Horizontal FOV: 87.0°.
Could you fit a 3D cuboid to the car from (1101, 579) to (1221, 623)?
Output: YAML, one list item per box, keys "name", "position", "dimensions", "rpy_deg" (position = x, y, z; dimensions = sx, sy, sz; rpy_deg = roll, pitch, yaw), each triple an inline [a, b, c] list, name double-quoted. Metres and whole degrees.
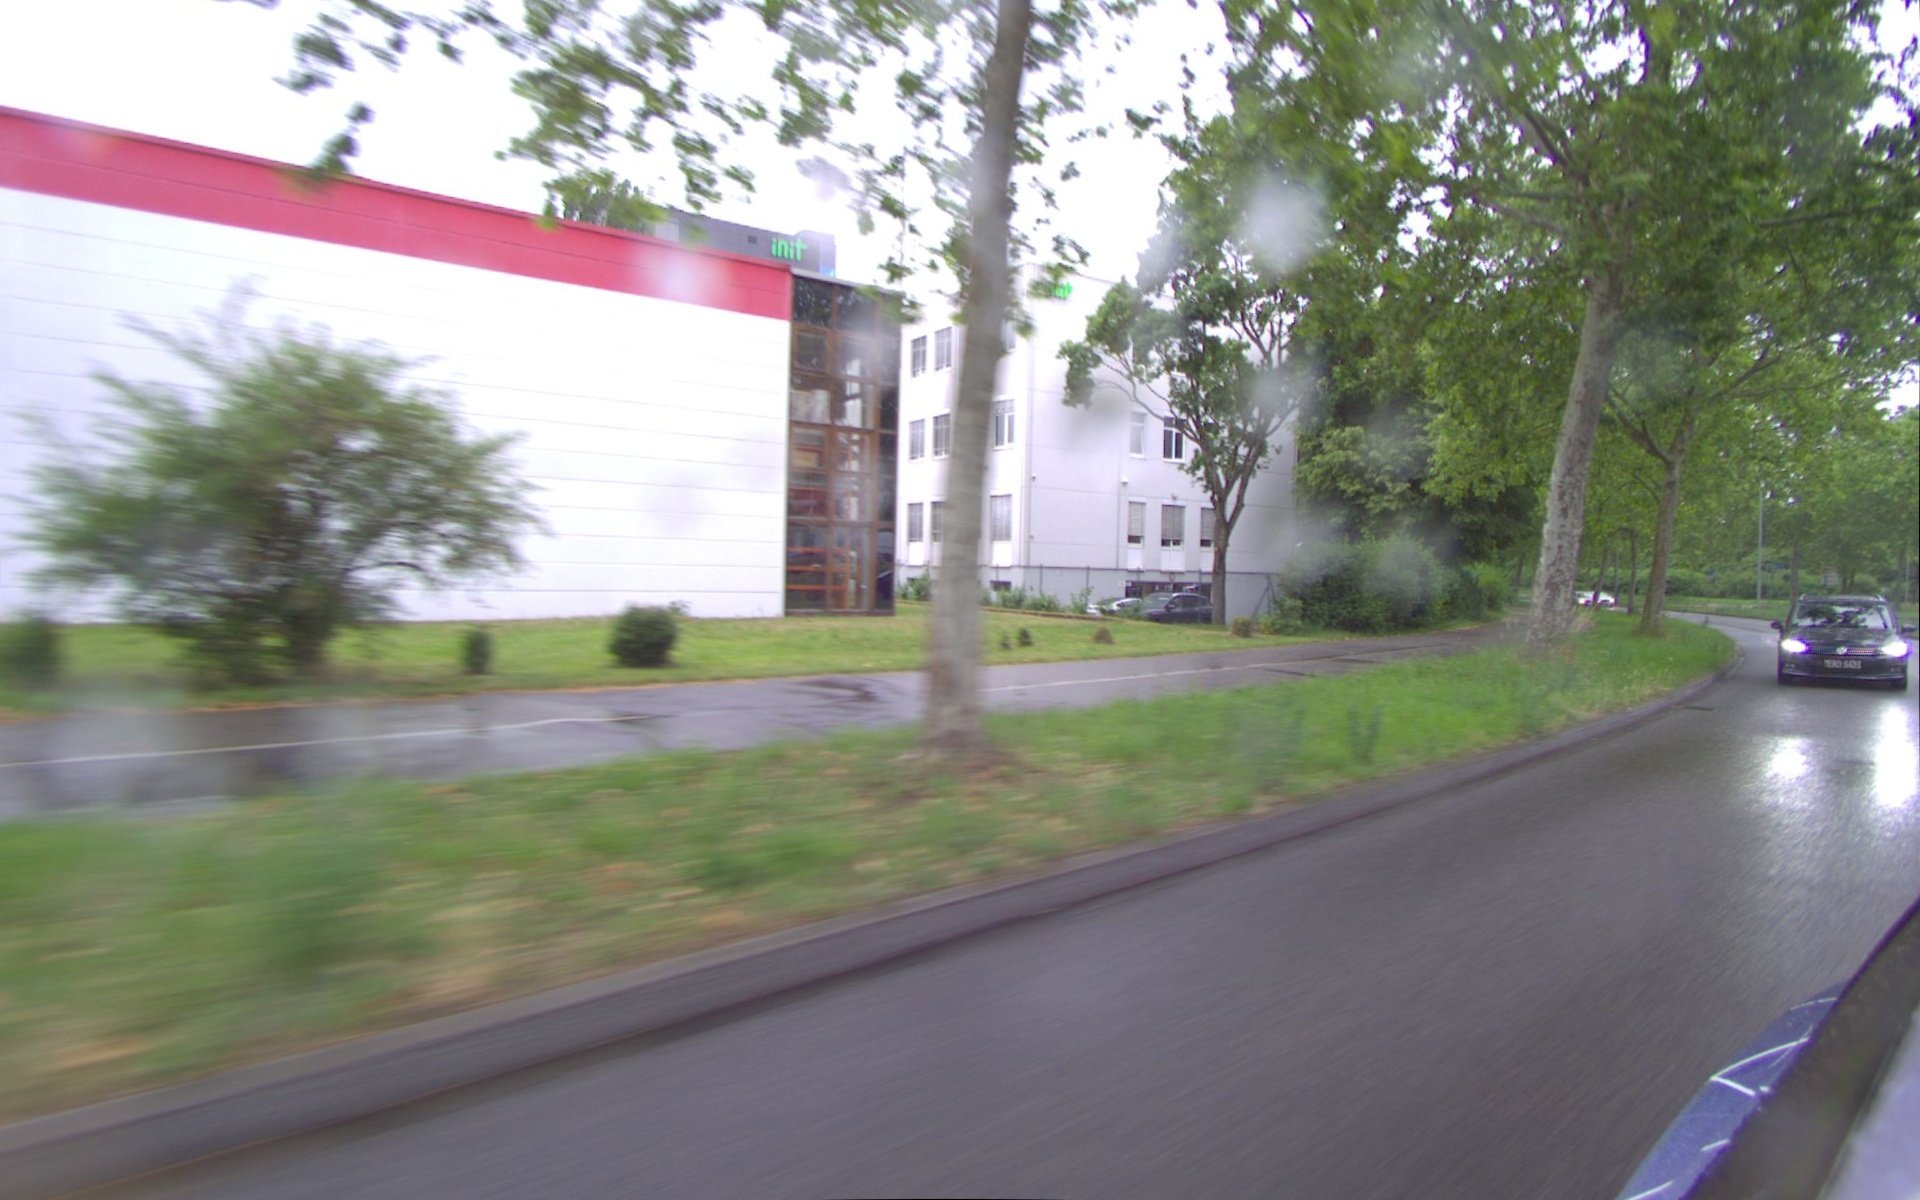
- name: "car"
  position: [7.221, 0.017, 36.282]
  dimensions: [4.030, 1.494, 1.787]
  rpy_deg: [0, 1, -30]

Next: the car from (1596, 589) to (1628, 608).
- name: "car"
  position: [58.587, -0.143, 91.012]
  dimensions: [1.765, 1.575, 3.969]
  rpy_deg: [1, 1, 23]

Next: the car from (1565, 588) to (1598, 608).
- name: "car"
  position: [52.734, -0.172, 85.911]
  dimensions: [1.765, 1.575, 3.969]
  rpy_deg: [1, 1, 23]

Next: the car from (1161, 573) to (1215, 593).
- name: "car"
  position: [16.132, -1.219, 71.561]
  dimensions: [3.635, 1.375, 1.599]
  rpy_deg: [0, 1, -33]

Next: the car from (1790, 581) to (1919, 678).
- name: "car"
  position: [16.689, 0.464, 18.817]
  dimensions: [1.778, 1.575, 3.940]
  rpy_deg: [2, 2, 41]

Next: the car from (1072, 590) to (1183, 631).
- name: "car"
  position: [6.495, 0.372, 39.250]
  dimensions: [4.030, 1.494, 1.787]
  rpy_deg: [0, 1, -30]

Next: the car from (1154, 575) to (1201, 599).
- name: "car"
  position: [13.138, -0.801, 61.037]
  dimensions: [1.587, 1.375, 3.663]
  rpy_deg: [1, 1, 33]
